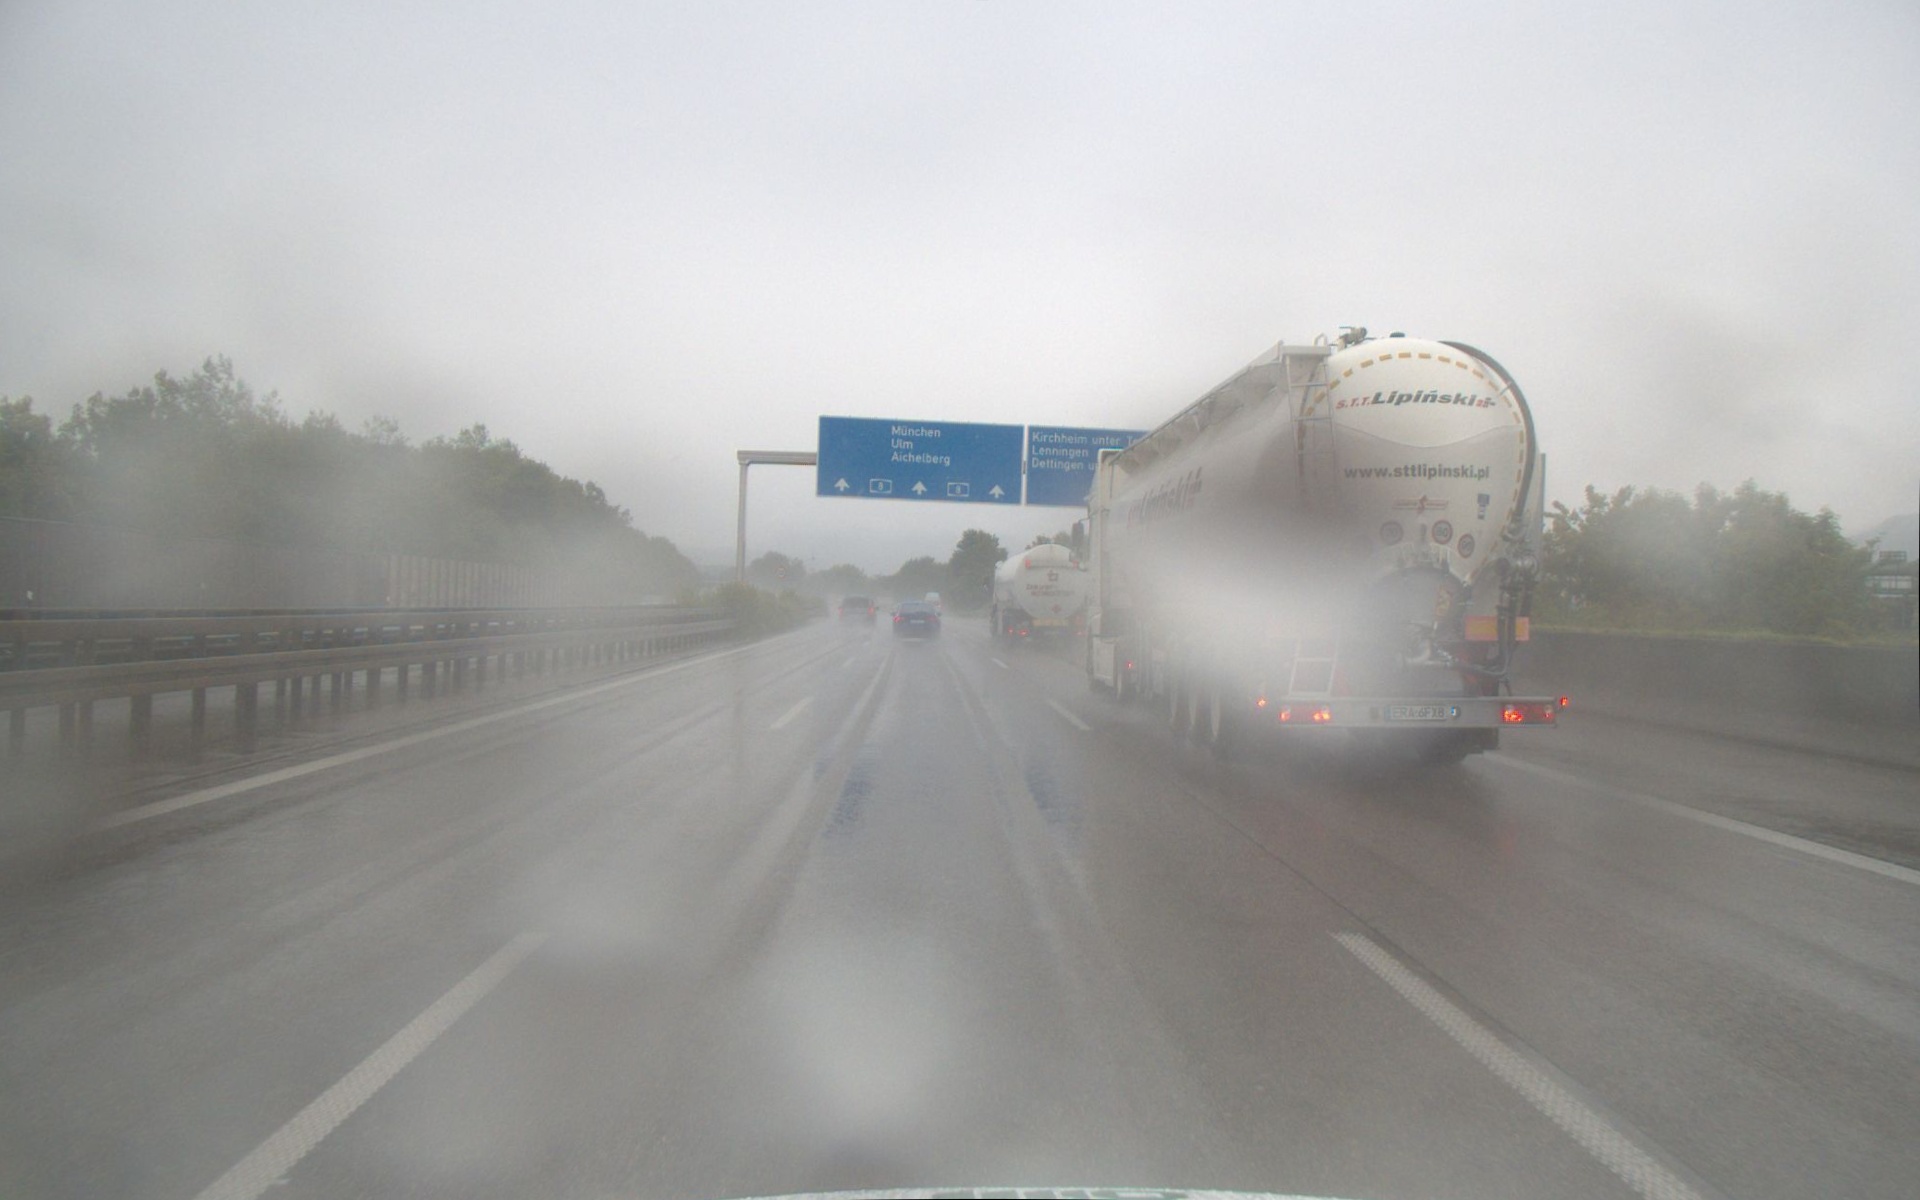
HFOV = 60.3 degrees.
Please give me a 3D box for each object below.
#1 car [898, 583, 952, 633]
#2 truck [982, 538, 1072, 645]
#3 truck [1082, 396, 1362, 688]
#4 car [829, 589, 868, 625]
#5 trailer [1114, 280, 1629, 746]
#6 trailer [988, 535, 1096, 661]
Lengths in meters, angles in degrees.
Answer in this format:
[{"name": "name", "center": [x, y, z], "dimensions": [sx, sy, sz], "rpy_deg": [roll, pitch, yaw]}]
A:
[{"name": "car", "center": [-1.274, 0.286, 61.493], "dimensions": [1.938, 1.787, 4.481], "rpy_deg": [0, 0, 0]}, {"name": "truck", "center": [2.438, -0.307, 62.221], "dimensions": [2.884, 3.749, 6.358], "rpy_deg": [1, 0, -2]}, {"name": "truck", "center": [3.806, -0.801, 25.883], "dimensions": [3.042, 3.873, 7.210], "rpy_deg": [1, 0, -1]}, {"name": "car", "center": [-5.663, 0.338, 83.972], "dimensions": [1.887, 1.771, 4.400], "rpy_deg": [1, 0, -4]}, {"name": "trailer", "center": [3.896, -0.737, 19.313], "dimensions": [3.123, 3.734, 11.667], "rpy_deg": [1, 0, 0]}, {"name": "trailer", "center": [2.636, -0.054, 56.218], "dimensions": [2.944, 3.915, 8.620], "rpy_deg": [1, 0, -2]}]
